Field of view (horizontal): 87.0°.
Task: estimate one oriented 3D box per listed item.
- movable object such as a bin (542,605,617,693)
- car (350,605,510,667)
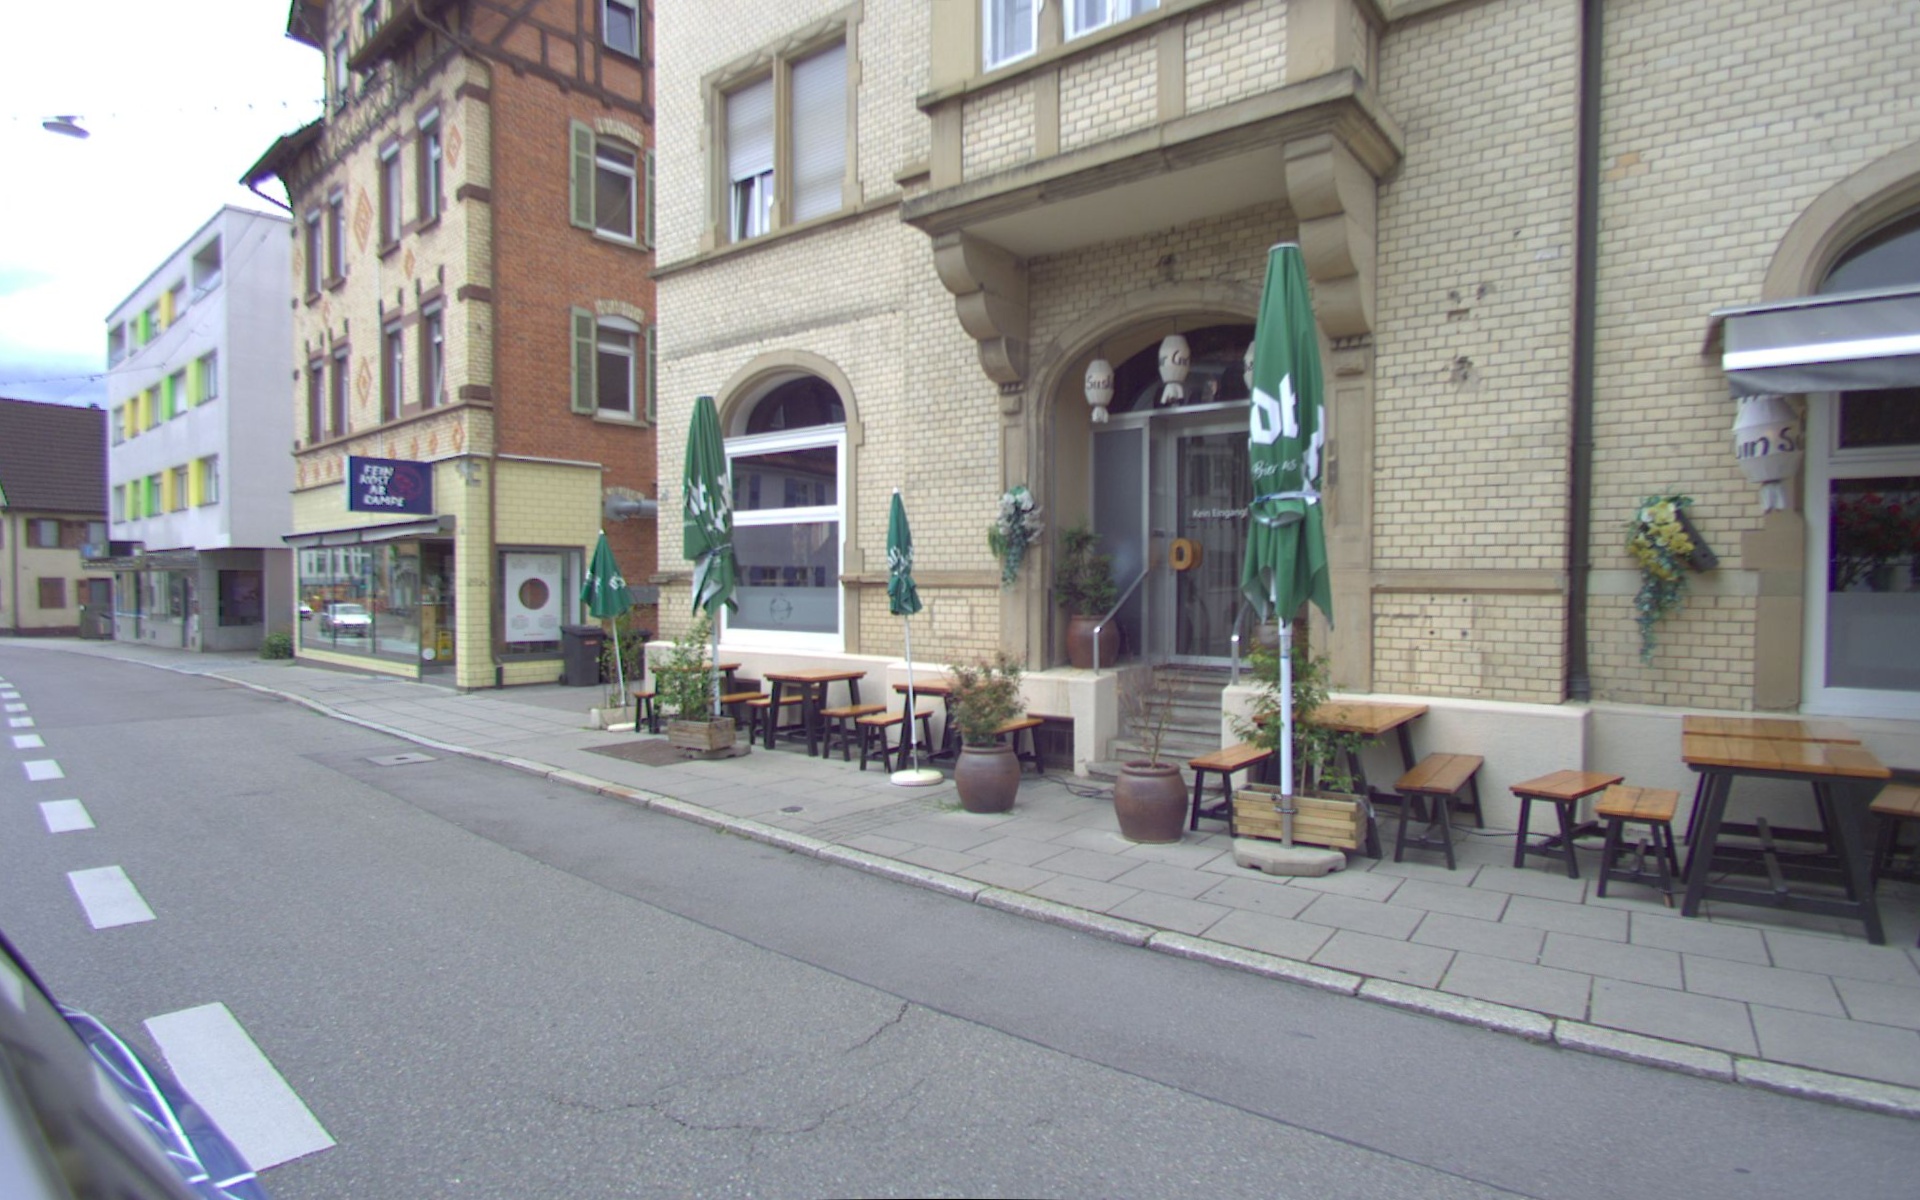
[{"bbox_3d":[-6.622,0.824,17.630,0.824,1.388,0.932,4,6,44],"label":"movable object such as a bin"},{"bbox_3d":[-16.247,1.039,31.127,1.887,1.674,3.952,0,1,44],"label":"car"}]
